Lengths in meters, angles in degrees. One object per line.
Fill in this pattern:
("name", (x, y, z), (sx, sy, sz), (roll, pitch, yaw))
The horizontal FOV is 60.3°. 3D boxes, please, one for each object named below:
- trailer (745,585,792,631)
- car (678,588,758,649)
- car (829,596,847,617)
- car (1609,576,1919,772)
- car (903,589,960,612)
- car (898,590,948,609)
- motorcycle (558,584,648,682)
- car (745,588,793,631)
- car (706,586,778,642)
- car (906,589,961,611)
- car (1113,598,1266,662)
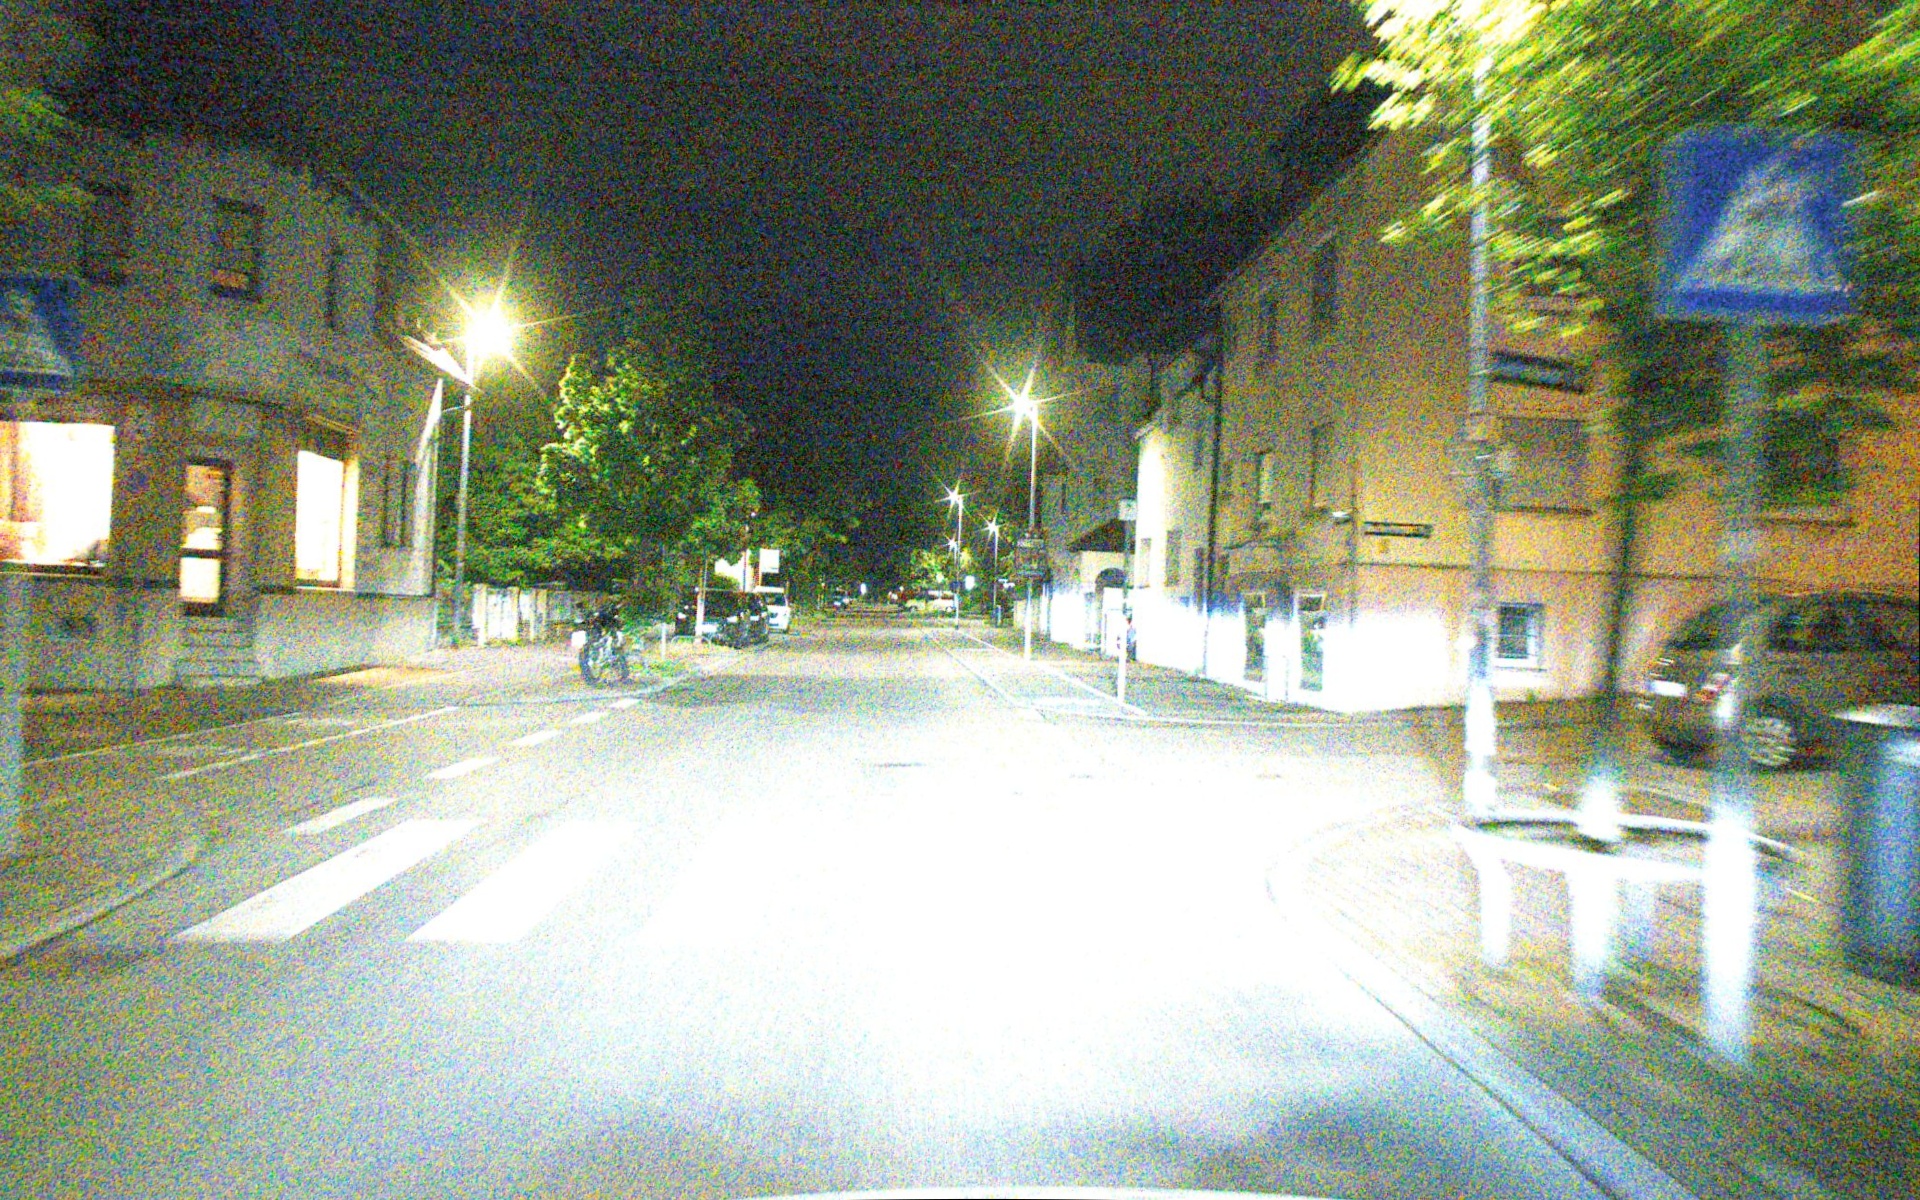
("trailer", (-7.766, 0.327, 67.360), (1.419, 1.717, 3.425), (4, 0, 0))
("car", (-6.537, 0.482, 45.015), (1.654, 1.537, 4.277), (1, 0, -2))
("car", (-12.797, 0.667, 173.974), (1.789, 2.021, 4.461), (3, -1, -4))
("car", (7.941, 0.599, 14.871), (3.436, 1.551, 1.819), (-2, 0, -4))
("car", (-2.598, 0.026, 150.769), (5.080, 2.049, 2.100), (0, 0, -4))
("car", (-3.928, -0.057, 175.490), (5.072, 1.920, 2.103), (0, 0, 6))
("motorcycle", (-5.619, 0.501, 26.165), (0.730, 1.477, 2.197), (1, 0, 6))
("car", (-7.386, 0.360, 64.183), (1.639, 1.548, 2.976), (4, 0, -4))
("car", (-6.568, 0.408, 50.198), (1.731, 1.546, 4.276), (3, 0, -3))
("car", (-2.485, -0.008, 153.842), (5.080, 2.049, 2.100), (0, 0, -4))
("car", (5.819, 0.755, 42.188), (3.635, 1.499, 1.730), (2, 0, 0))
